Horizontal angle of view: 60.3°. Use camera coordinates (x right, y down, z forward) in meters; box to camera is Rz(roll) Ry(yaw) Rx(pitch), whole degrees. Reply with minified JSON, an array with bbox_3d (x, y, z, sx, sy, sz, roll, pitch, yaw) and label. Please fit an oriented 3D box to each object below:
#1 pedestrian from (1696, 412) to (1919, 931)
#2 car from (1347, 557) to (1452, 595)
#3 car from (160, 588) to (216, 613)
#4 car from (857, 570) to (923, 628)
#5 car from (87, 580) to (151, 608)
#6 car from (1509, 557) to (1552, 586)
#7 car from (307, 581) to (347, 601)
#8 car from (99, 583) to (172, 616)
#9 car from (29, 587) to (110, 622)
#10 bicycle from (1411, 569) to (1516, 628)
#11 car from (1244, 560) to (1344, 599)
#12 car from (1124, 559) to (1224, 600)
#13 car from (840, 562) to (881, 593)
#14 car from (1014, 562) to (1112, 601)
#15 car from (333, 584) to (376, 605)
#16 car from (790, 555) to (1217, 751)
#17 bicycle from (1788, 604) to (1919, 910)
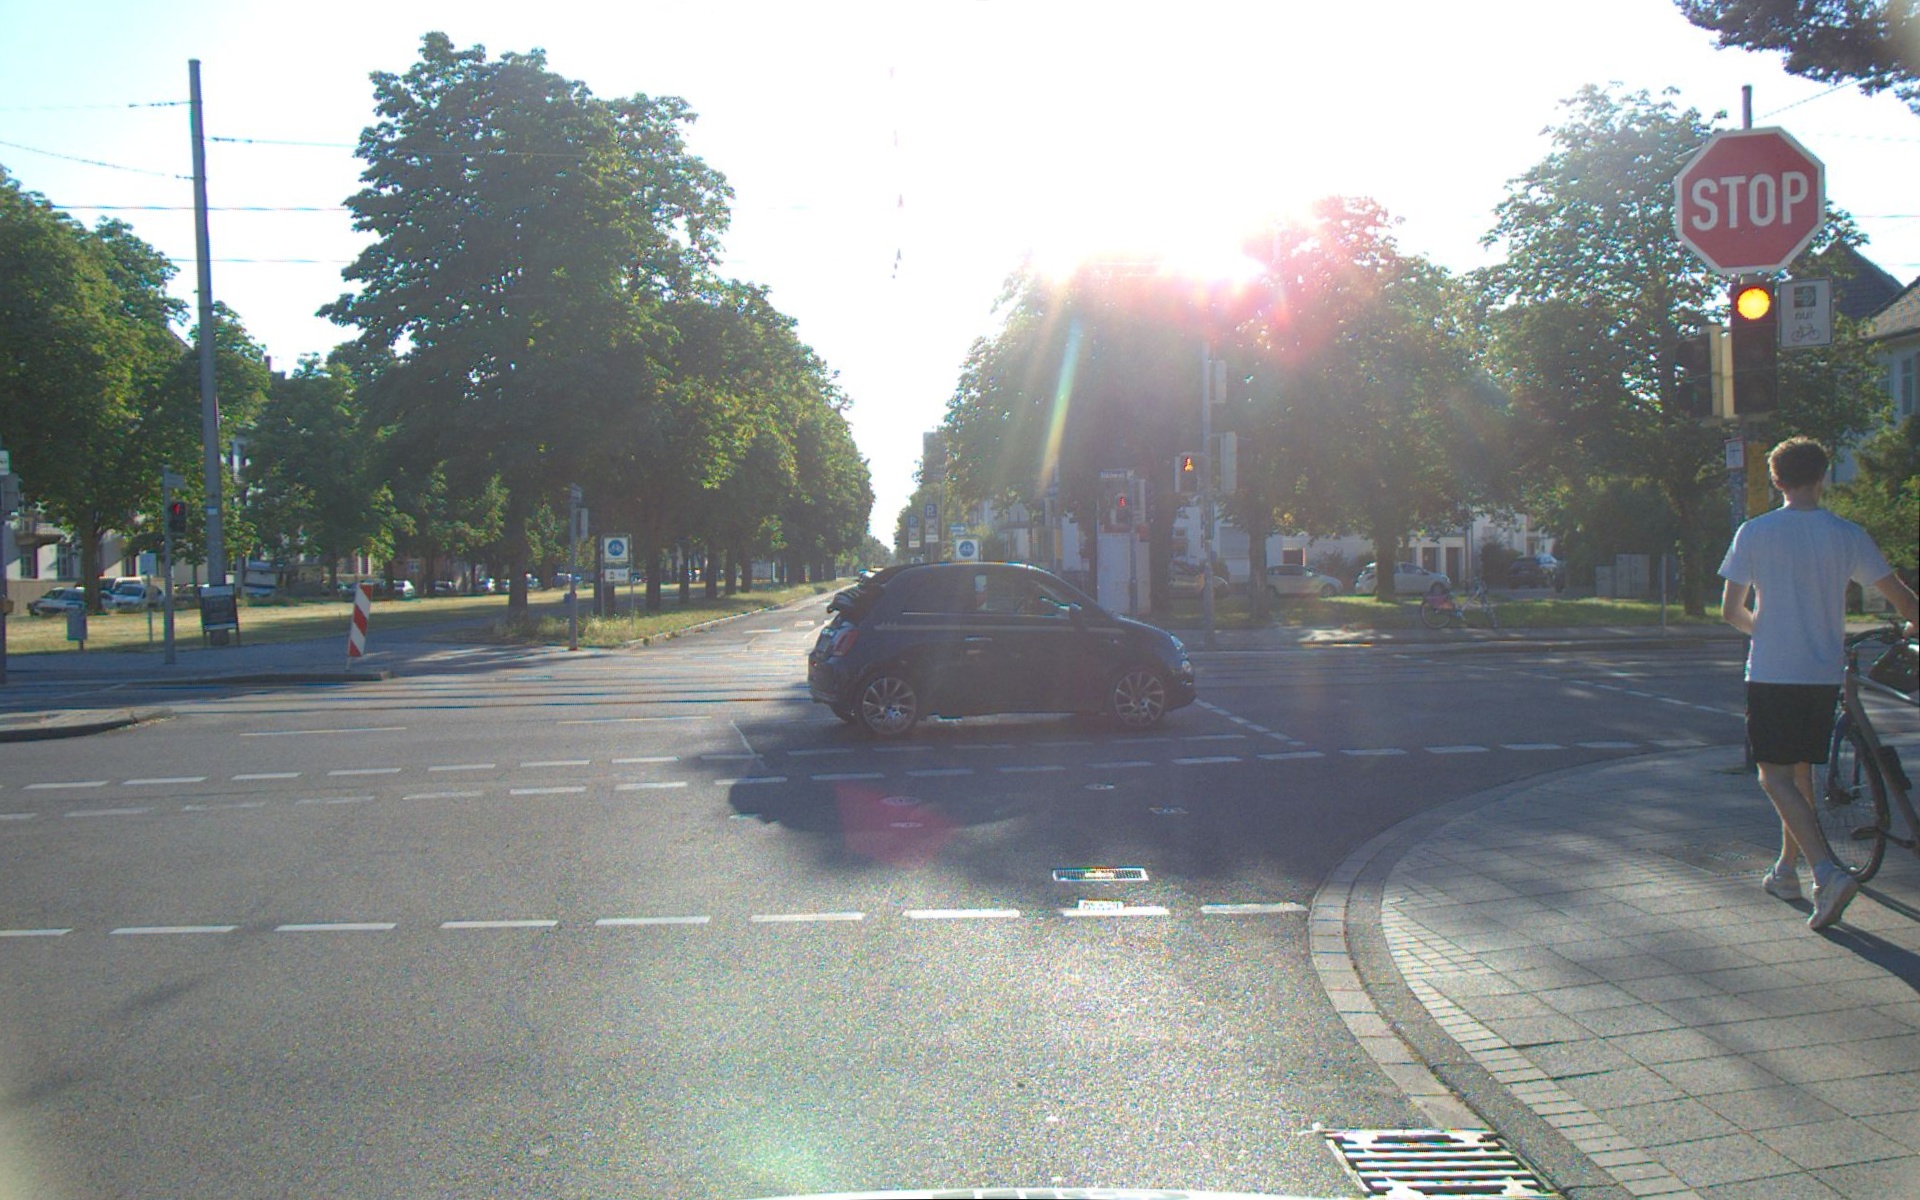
[{"bbox_3d":[3.470,0.251,6.564,0.656,1.897,0.882,-4,1,6],"label":"pedestrian"},{"bbox_3d":[17.673,-0.967,66.559,3.772,1.452,1.595,-1,1,-7],"label":"car"},{"bbox_3d":[-47.432,0.000,101.665,1.703,1.452,3.791,-1,1,-2],"label":"car"},{"bbox_3d":[-1.832,-0.059,44.101,1.607,1.476,3.307,-1,1,0],"label":"car"},{"bbox_3d":[-46.531,-0.353,91.579,1.703,1.452,3.791,-1,1,-2],"label":"car"},{"bbox_3d":[29.161,-1.459,84.525,1.631,1.442,3.539,-1,1,27],"label":"car"},{"bbox_3d":[-48.110,-0.711,125.765,1.703,1.452,3.791,0,1,-2],"label":"car"},{"bbox_3d":[-40.345,-0.045,80.993,1.703,1.451,3.792,-1,2,-2],"label":"car"},{"bbox_3d":[-40.227,0.179,74.799,1.703,1.452,3.791,-1,1,-2],"label":"car"},{"bbox_3d":[10.108,-0.034,33.259,1.914,1.152,0.620,-1,1,0],"label":"bicycle"},{"bbox_3d":[13.267,-0.815,65.718,3.593,1.452,1.530,-1,1,-7],"label":"car"},{"bbox_3d":[8.463,-0.820,65.698,3.704,1.552,1.743,-1,2,-3],"label":"car"},{"bbox_3d":[-4.678,-1.099,78.162,1.808,1.418,3.828,0,1,-2],"label":"car"},{"bbox_3d":[4.050,-0.734,65.302,3.704,1.451,1.743,-1,2,-3],"label":"car"},{"bbox_3d":[-42.344,-0.402,115.661,1.703,1.452,3.791,0,1,-2],"label":"car"},{"bbox_3d":[0.354,0.412,14.939,3.536,1.523,1.606,-2,2,-15],"label":"car"},{"bbox_3d":[3.914,0.617,6.502,0.477,1.116,1.792,-3,1,4],"label":"bicycle"}]
